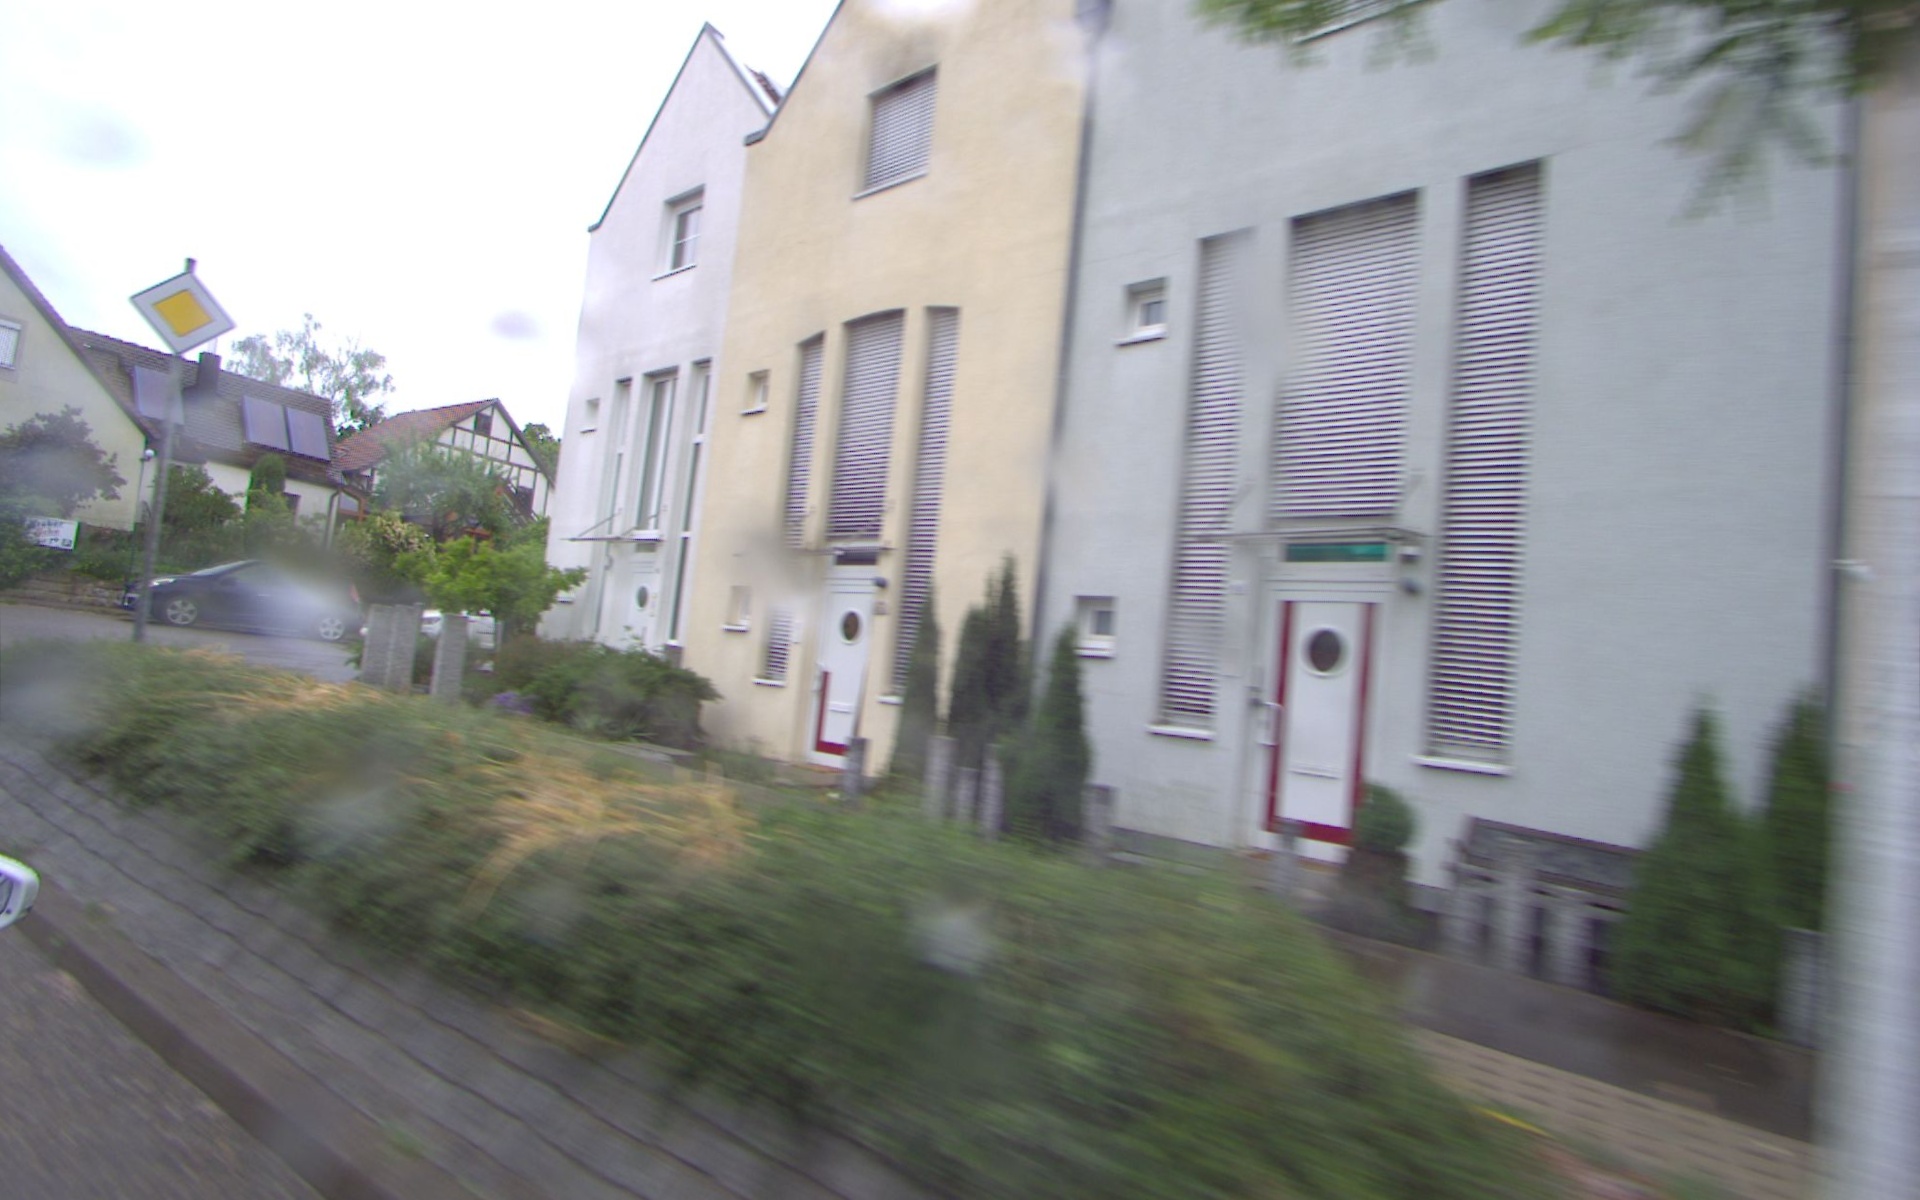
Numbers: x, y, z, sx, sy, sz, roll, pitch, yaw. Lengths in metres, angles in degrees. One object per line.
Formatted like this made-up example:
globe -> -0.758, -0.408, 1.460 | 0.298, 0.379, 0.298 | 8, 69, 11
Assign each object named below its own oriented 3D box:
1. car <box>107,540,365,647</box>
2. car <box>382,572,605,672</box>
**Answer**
car -> -15.566, -0.102, 21.788 | 1.841, 1.601, 4.129 | 4, -6, 44
car -> -11.790, 0.605, 25.674 | 1.781, 1.822, 4.681 | 4, -6, 44
